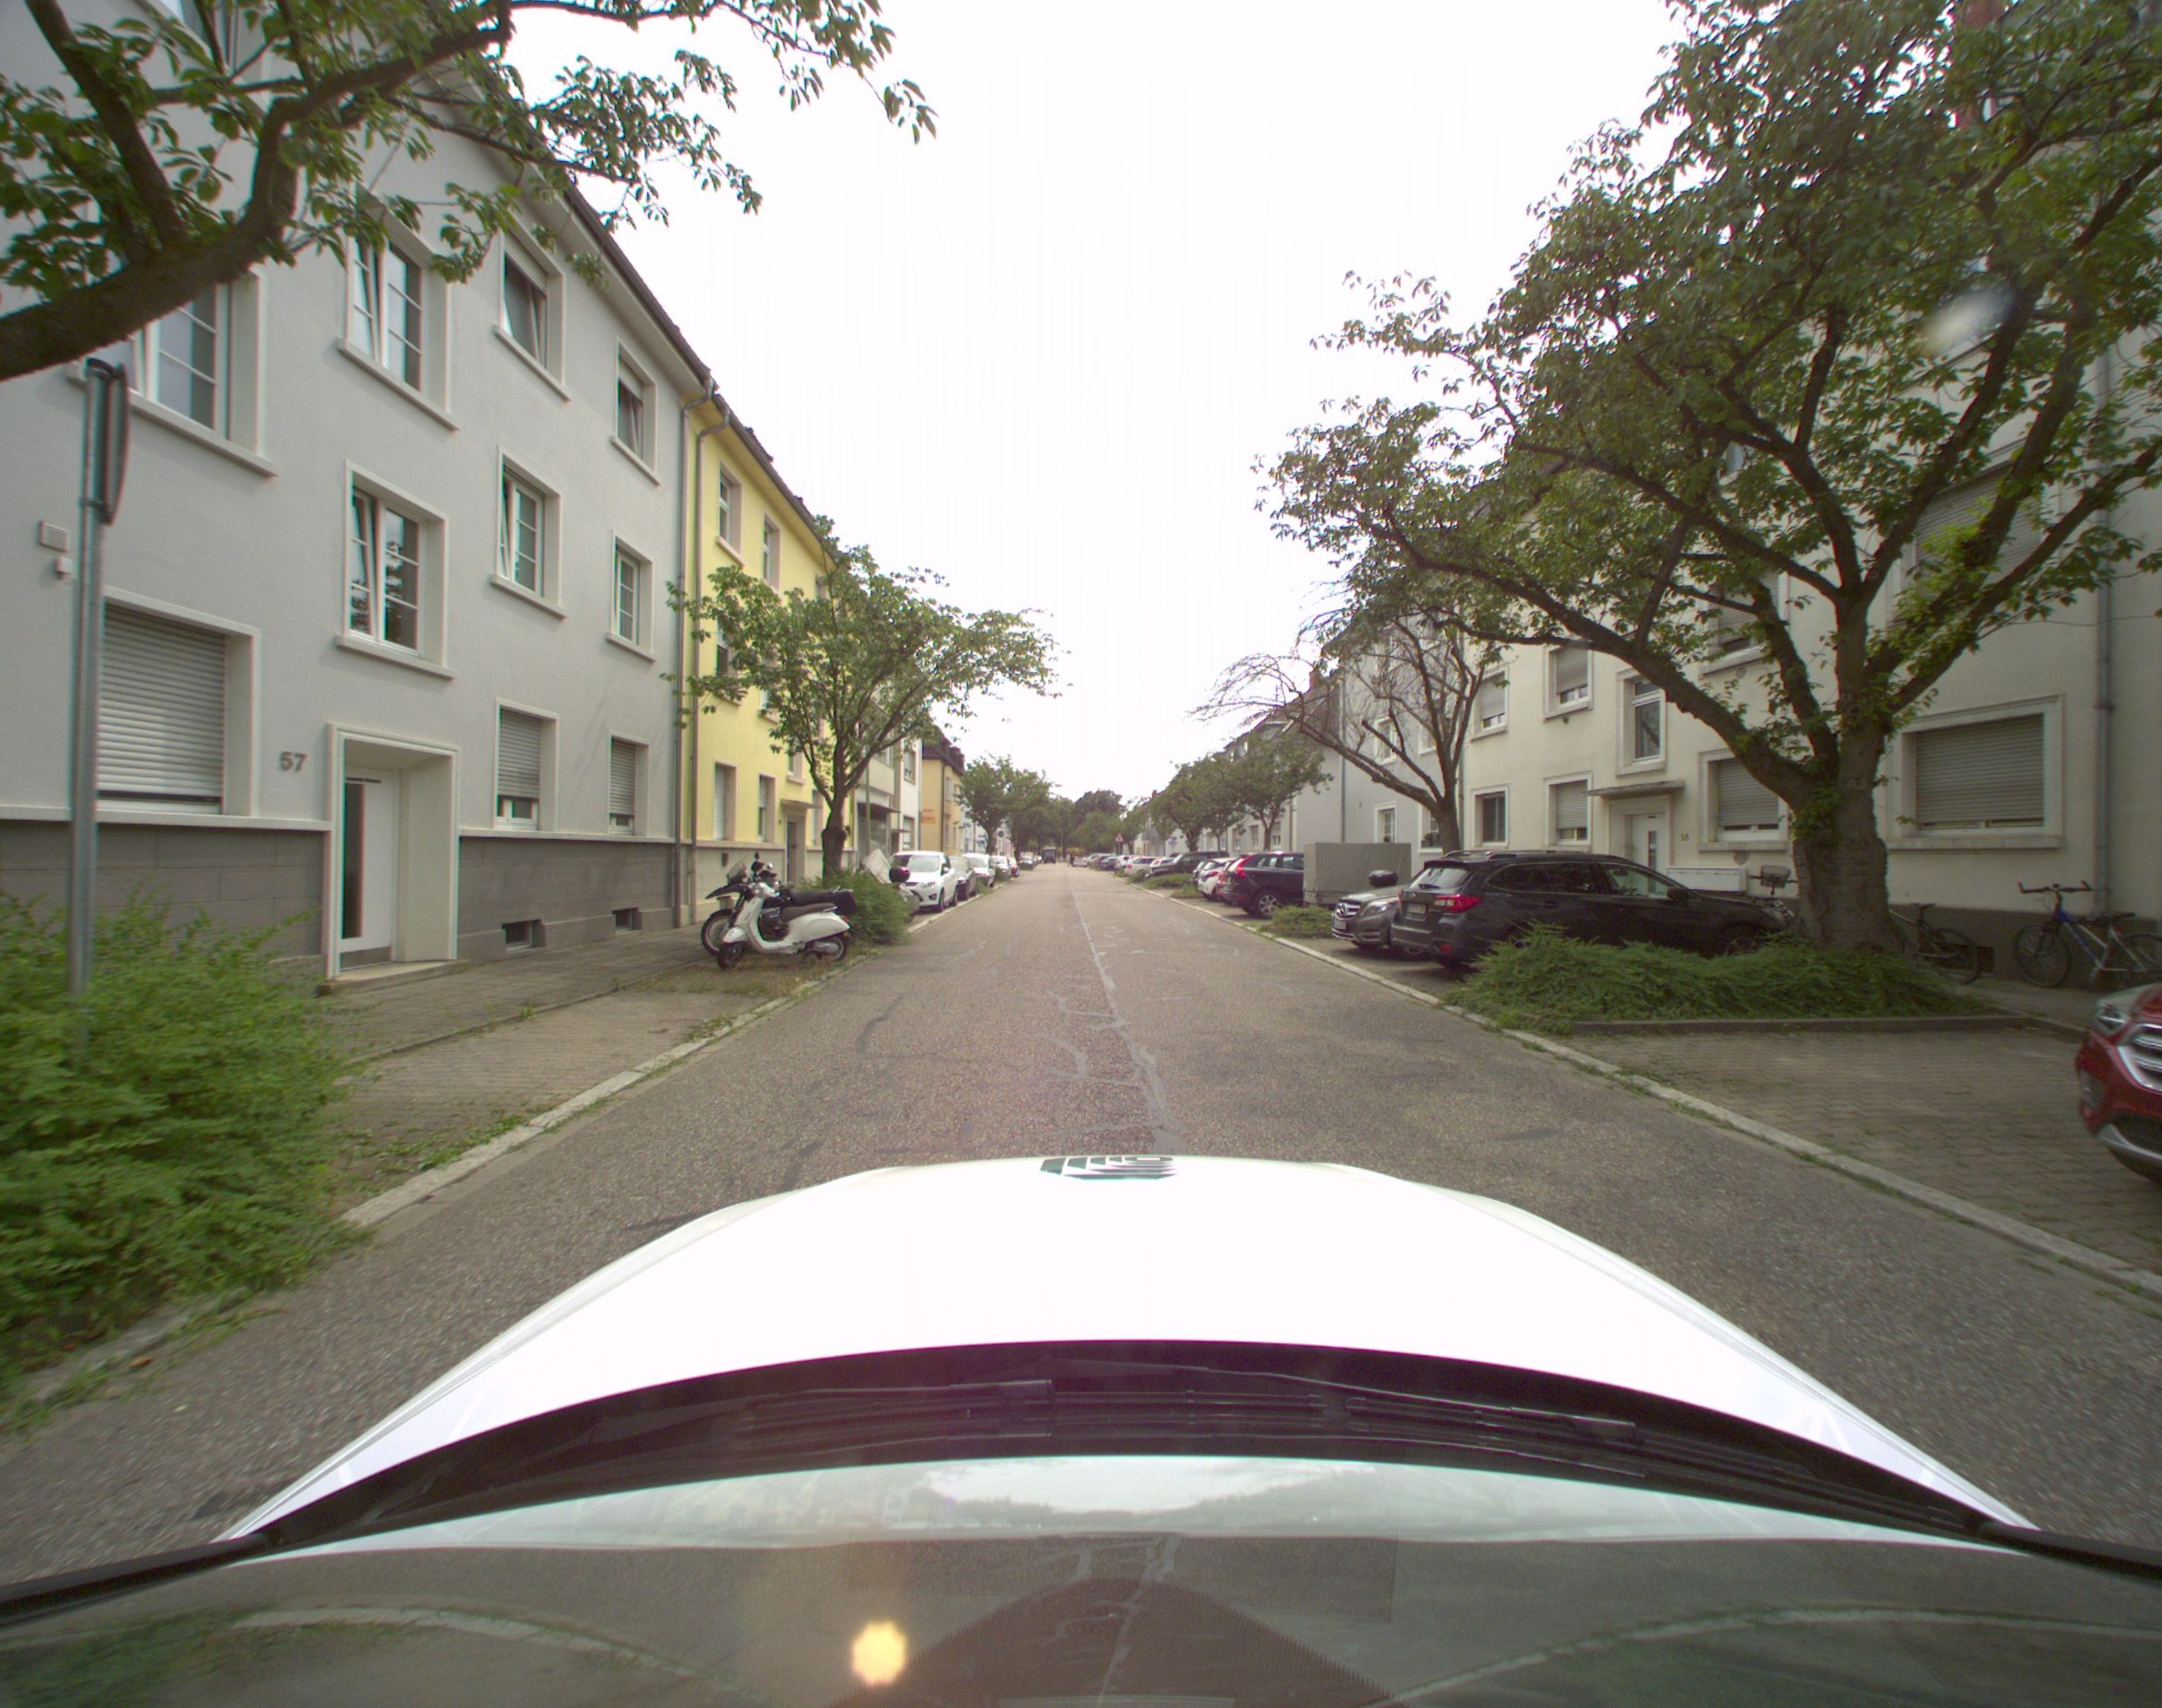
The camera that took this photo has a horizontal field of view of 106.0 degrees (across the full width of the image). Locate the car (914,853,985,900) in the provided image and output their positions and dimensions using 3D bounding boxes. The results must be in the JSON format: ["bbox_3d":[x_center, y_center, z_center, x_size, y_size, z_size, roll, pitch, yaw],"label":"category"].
[{"bbox_3d":[-4.531,0.763,28.661,1.785,1.492,4.809,1,-1,-1],"label":"car"}]

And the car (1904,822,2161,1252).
[{"bbox_3d":[6.291,0.650,3.184,4.201,1.677,1.904,-2,-1,0],"label":"car"}]

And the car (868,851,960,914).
[{"bbox_3d":[-4.461,0.716,22.356,1.752,1.556,4.253,0,0,-2],"label":"car"}]

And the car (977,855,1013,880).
[{"bbox_3d":[-5.479,0.833,52.457,1.766,1.392,4.273,6,-1,-1],"label":"car"}]

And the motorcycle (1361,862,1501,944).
[{"bbox_3d":[6.216,0.856,14.520,2.221,1.409,0.714,0,0,-5],"label":"motorcycle"}]

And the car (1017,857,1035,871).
[{"bbox_3d":[-6.507,1.213,96.209,1.757,1.554,3.732,-2,0,2],"label":"car"}]

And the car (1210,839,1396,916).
[{"bbox_3d":[5.556,0.570,20.756,4.201,1.736,1.904,-2,-1,0],"label":"car"}]

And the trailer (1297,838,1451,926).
[{"bbox_3d":[6.563,0.617,18.412,2.950,1.831,1.401,-2,-1,1],"label":"trailer"}]

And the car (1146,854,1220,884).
[{"bbox_3d":[5.443,0.813,43.829,3.620,1.454,1.769,-2,-1,-6],"label":"car"}]

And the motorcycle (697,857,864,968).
[{"bbox_3d":[-4.438,0.826,12.119,2.245,1.481,0.591,-1,-1,-29],"label":"motorcycle"}]

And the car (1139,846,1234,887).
[{"bbox_3d":[5.276,0.622,41.130,4.510,1.858,1.793,-2,-1,0],"label":"car"}]

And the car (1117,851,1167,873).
[{"bbox_3d":[4.921,0.652,66.326,3.912,1.633,1.867,-2,-1,-1],"label":"car"}]

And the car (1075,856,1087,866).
[{"bbox_3d":[0.004,0.951,113.773,1.682,1.354,3.825,-2,0,0],"label":"car"}]

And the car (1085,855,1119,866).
[{"bbox_3d":[3.176,0.995,122.120,4.965,1.518,1.766,-2,-1,-4],"label":"car"}]

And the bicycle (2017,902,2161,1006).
[{"bbox_3d":[10.328,0.972,8.113,0.319,0.905,1.473,-2,0,2],"label":"bicycle"}]

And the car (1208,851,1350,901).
[{"bbox_3d":[6.188,0.674,25.701,3.980,1.410,1.765,-2,-1,-5],"label":"car"}]

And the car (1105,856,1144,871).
[{"bbox_3d":[4.341,0.976,81.792,3.737,1.365,1.772,-2,-1,-1],"label":"car"}]

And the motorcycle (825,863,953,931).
[{"bbox_3d":[-3.955,0.874,16.883,2.441,1.311,0.643,-2,-1,-2],"label":"motorcycle"}]

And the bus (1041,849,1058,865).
[{"bbox_3d":[-5.899,0.599,151.258,2.996,2.761,8.916,-2,0,-2],"label":"bus"}]

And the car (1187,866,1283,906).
[{"bbox_3d":[6.256,1.299,33.321,3.534,1.453,1.807,-2,-1,-3],"label":"car"}]

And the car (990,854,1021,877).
[{"bbox_3d":[-5.311,0.801,57.861,1.872,1.486,4.509,-2,0,-2],"label":"car"}]

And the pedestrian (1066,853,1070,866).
[{"bbox_3d":[-1.812,0.737,112.862,0.520,1.704,0.445,-2,-1,2],"label":"pedestrian"}]

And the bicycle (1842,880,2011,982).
[{"bbox_3d":[10.087,0.878,9.791,0.501,1.081,1.473,-2,-1,2],"label":"bicycle"}]

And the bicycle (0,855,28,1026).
[{"bbox_3d":[-6.555,0.510,4.183,0.419,1.006,1.434,-2,0,0],"label":"bicycle"}]

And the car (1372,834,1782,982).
[{"bbox_3d":[6.234,0.635,10.569,4.207,1.598,1.901,-2,-1,-4],"label":"car"}]

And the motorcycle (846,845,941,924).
[{"bbox_3d":[-4.290,0.657,18.525,2.443,1.676,0.944,0,0,45],"label":"motorcycle"}]

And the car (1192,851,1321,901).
[{"bbox_3d":[5.979,0.737,28.027,3.980,1.530,1.765,-2,-1,-5],"label":"car"}]

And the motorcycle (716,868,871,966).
[{"bbox_3d":[-3.923,0.818,11.170,1.917,1.192,0.591,-2,-1,-29],"label":"motorcycle"}]

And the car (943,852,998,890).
[{"bbox_3d":[-4.966,0.753,37.154,1.913,1.581,4.380,-2,0,-1],"label":"car"}]

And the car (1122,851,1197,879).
[{"bbox_3d":[5.015,0.704,52.309,4.601,1.664,1.891,-2,-1,-1],"label":"car"}]

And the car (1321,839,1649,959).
[{"bbox_3d":[6.171,0.652,12.760,4.207,1.598,1.901,-2,-1,-4],"label":"car"}]
